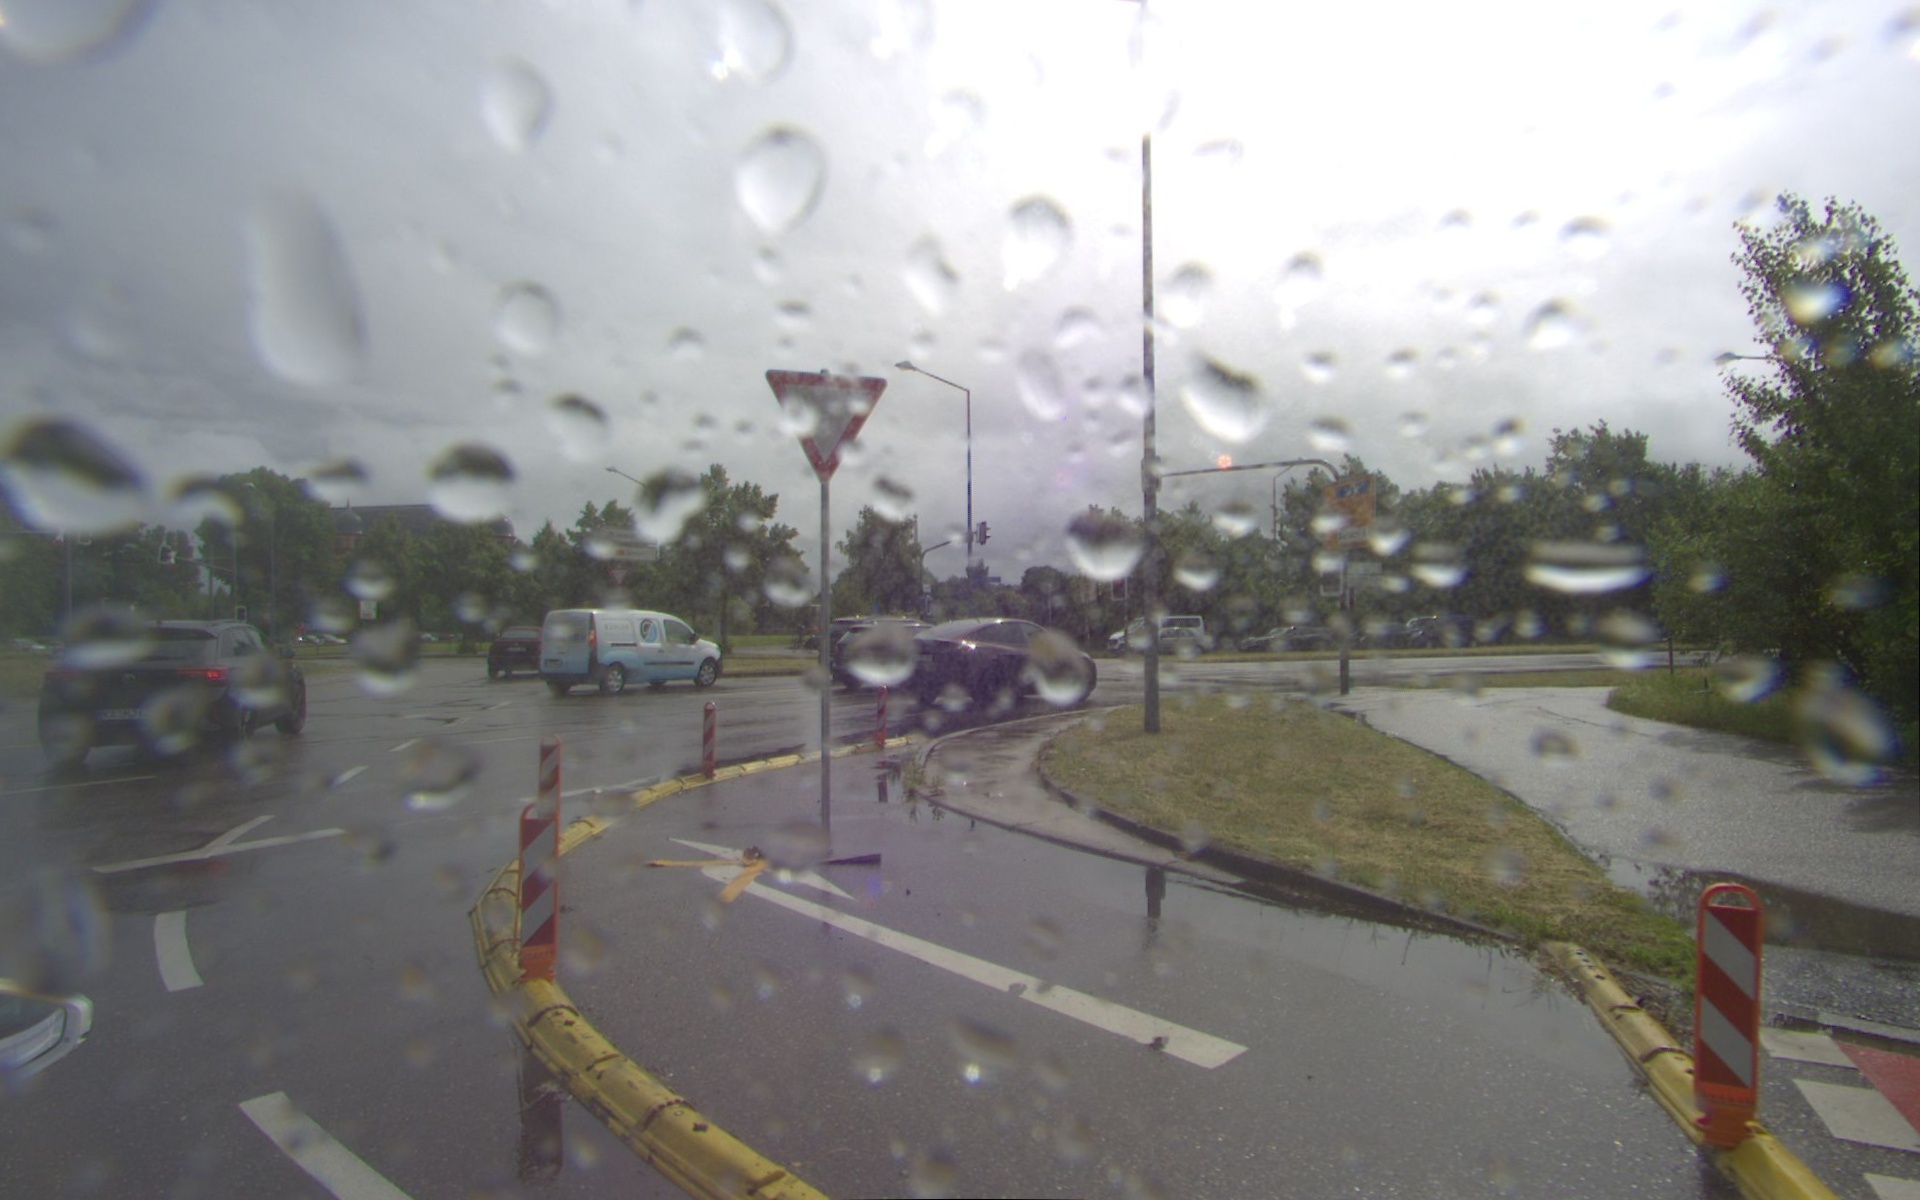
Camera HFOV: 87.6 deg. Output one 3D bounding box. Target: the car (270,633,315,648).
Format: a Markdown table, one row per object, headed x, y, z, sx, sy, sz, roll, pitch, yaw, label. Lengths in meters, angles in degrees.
| x | y | z | sx | sy | sz | roll | pitch | yaw | label |
| --- | --- | --- | --- | --- | --- | --- | --- | --- | --- |
| -74.470 | 4.498 | 111.719 | 3.903 | 1.580 | 1.850 | -1 | -1 | 9 | car |

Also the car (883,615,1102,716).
| x | y | z | sx | sy | sz | roll | pitch | yaw | label |
| --- | --- | --- | --- | --- | --- | --- | --- | --- | --- |
| 0.742 | 1.150 | 19.401 | 1.854 | 1.679 | 4.462 | 0 | 0 | 41 | car |

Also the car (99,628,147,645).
| x | y | z | sx | sy | sz | roll | pitch | yaw | label |
| --- | --- | --- | --- | --- | --- | --- | --- | --- | --- |
| -77.310 | 3.379 | 92.521 | 3.583 | 1.530 | 1.648 | -1 | -1 | 15 | car |

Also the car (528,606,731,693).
| x | y | z | sx | sy | sz | roll | pitch | yaw | label |
| --- | --- | --- | --- | --- | --- | --- | --- | --- | --- |
| -7.410 | 1.056 | 22.972 | 1.837 | 1.785 | 4.538 | 0 | -1 | 25 | car |

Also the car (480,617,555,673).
| x | y | z | sx | sy | sz | roll | pitch | yaw | label |
| --- | --- | --- | --- | --- | --- | --- | --- | --- | --- |
| -12.978 | 1.258 | 29.541 | 1.691 | 1.481 | 3.990 | 0 | 0 | -19 | car |

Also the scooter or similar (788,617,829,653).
| x | y | z | sx | sy | sz | roll | pitch | yaw | label |
| --- | --- | --- | --- | --- | --- | --- | --- | --- | --- |
| -8.849 | 2.088 | 58.295 | 1.222 | 2.038 | 3.392 | 2 | -3 | -30 | scooter or similar |

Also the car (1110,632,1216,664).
| x | y | z | sx | sy | sz | roll | pitch | yaw | label |
| --- | --- | --- | --- | --- | --- | --- | --- | --- | --- |
| 9.331 | 2.176 | 46.018 | 4.474 | 1.398 | 1.863 | 1 | -1 | -20 | car |

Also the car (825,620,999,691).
| x | y | z | sx | sy | sz | roll | pitch | yaw | label |
| --- | --- | --- | --- | --- | --- | --- | --- | --- | --- |
| -1.096 | 1.262 | 23.960 | 3.960 | 1.548 | 1.793 | 1 | -1 | -43 | car |

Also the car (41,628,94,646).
| x | y | z | sx | sy | sz | roll | pitch | yaw | label |
| --- | --- | --- | --- | --- | --- | --- | --- | --- | --- |
| -77.978 | 3.239 | 87.503 | 3.543 | 1.480 | 1.644 | -1 | -1 | 12 | car |

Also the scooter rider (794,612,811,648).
| x | y | z | sx | sy | sz | roll | pitch | yaw | label |
| --- | --- | --- | --- | --- | --- | --- | --- | --- | --- |
| -9.237 | 1.761 | 58.692 | 0.697 | 2.038 | 0.766 | 2 | -3 | -35 | scooter rider |

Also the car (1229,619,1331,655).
| x | y | z | sx | sy | sz | roll | pitch | yaw | label |
| --- | --- | --- | --- | --- | --- | --- | --- | --- | --- |
| 15.338 | 1.755 | 48.024 | 4.411 | 1.556 | 1.863 | -1 | 0 | -20 | car |

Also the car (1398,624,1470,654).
| x | y | z | sx | sy | sz | roll | pitch | yaw | label |
| --- | --- | --- | --- | --- | --- | --- | --- | --- | --- |
| 26.061 | 2.126 | 55.033 | 3.479 | 1.530 | 1.628 | 0 | 0 | -20 | car |

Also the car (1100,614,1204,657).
| x | y | z | sx | sy | sz | roll | pitch | yaw | label |
| --- | --- | --- | --- | --- | --- | --- | --- | --- | --- |
| 9.471 | 1.733 | 49.432 | 4.720 | 2.013 | 2.073 | 1 | -1 | -21 | car |

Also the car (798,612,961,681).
| x | y | z | sx | sy | sz | roll | pitch | yaw | label |
| --- | --- | --- | --- | --- | --- | --- | --- | --- | --- |
| -2.224 | 1.236 | 28.378 | 4.278 | 1.781 | 2.023 | 0 | 0 | -43 | car |

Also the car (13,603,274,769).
| x | y | z | sx | sy | sz | roll | pitch | yaw | label |
| --- | --- | --- | --- | --- | --- | --- | --- | --- | --- |
| -9.604 | 0.867 | 12.130 | 1.877 | 1.639 | 3.977 | 0 | 0 | -31 | car |

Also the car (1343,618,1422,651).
| x | y | z | sx | sy | sz | roll | pitch | yaw | label |
| --- | --- | --- | --- | --- | --- | --- | --- | --- | --- |
| 21.293 | 1.712 | 50.493 | 3.540 | 1.602 | 1.564 | 1 | -1 | -20 | car |
